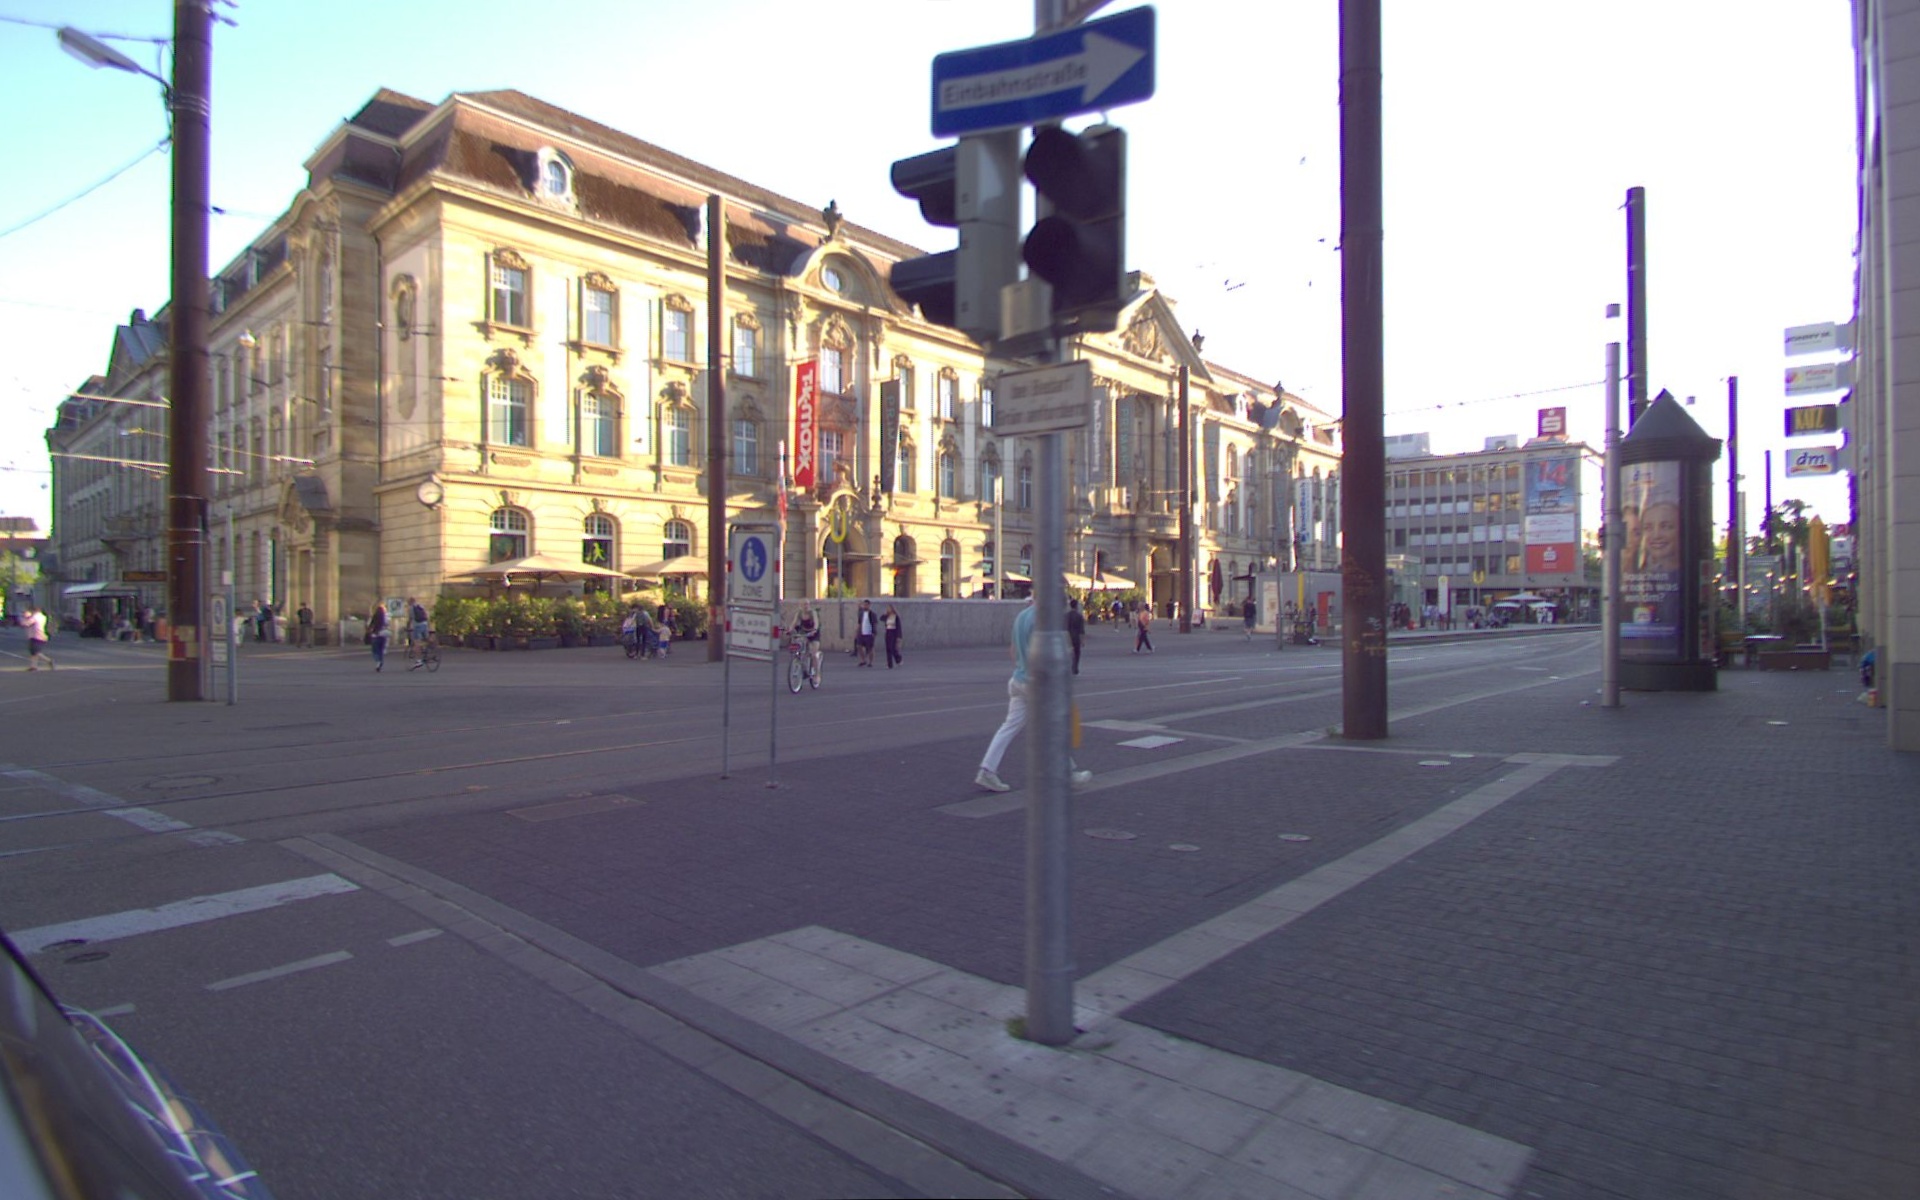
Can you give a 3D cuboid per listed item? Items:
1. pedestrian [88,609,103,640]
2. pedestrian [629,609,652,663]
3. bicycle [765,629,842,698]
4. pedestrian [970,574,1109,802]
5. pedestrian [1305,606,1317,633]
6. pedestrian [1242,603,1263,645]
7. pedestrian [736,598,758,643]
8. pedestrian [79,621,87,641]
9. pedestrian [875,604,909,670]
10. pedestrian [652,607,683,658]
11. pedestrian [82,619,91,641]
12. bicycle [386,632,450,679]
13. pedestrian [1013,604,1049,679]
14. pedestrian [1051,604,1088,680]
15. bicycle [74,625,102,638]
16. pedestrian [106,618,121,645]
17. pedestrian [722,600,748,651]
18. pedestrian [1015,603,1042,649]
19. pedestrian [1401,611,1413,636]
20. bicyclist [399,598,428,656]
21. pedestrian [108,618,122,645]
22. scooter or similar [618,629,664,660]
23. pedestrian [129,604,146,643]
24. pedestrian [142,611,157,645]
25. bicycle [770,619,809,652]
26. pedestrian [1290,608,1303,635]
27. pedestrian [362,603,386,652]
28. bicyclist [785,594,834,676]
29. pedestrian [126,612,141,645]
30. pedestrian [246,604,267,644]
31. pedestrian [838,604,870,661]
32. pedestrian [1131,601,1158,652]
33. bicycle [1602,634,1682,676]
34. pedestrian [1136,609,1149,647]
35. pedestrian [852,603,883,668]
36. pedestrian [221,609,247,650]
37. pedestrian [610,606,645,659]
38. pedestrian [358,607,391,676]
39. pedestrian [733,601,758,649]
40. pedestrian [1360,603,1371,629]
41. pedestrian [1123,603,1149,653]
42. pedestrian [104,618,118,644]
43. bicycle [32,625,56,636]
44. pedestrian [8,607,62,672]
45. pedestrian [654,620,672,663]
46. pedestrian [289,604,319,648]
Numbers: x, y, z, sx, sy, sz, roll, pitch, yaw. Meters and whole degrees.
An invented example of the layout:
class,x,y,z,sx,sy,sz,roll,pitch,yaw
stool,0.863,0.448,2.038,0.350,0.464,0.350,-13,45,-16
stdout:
class,x,y,z,sx,sy,sz,roll,pitch,yaw
pedestrian,-46.924,1.322,54.932,0.510,1.663,0.640,0,0,-26
pedestrian,-9.479,1.066,30.005,0.639,1.585,0.482,0,-1,-20
bicycle,-2.830,1.123,18.474,0.694,1.124,1.910,-1,0,14
pedestrian,0.667,0.680,8.437,0.867,1.774,0.758,-1,0,37
pedestrian,17.223,0.932,49.685,0.451,1.309,0.424,-1,1,36
pedestrian,11.843,0.983,41.004,0.650,1.687,0.523,-1,-1,42
pedestrian,-8.225,0.784,39.080,0.719,1.718,0.493,0,1,36
pedestrian,-50.045,1.778,57.750,0.360,1.111,0.430,-1,0,-42
pedestrian,-1.770,0.954,26.188,0.522,1.687,0.755,1,-1,-42
pedestrian,-9.447,1.032,32.736,0.661,1.626,0.768,-1,-1,16
pedestrian,-49.390,1.702,57.216,0.360,1.209,0.430,-1,0,-42
bicycle,-13.705,1.381,25.559,2.017,1.106,0.568,-1,0,35
pedestrian,1.624,0.941,23.183,0.650,1.687,0.523,-1,-1,42
pedestrian,2.471,0.936,22.846,0.650,1.687,0.523,-1,-1,42
bicycle,-66.192,2.388,76.822,1.557,0.880,0.451,-1,0,-44
pedestrian,-42.859,1.570,51.241,0.512,1.337,0.638,0,0,-45
pedestrian,-7.729,0.862,34.763,0.716,1.718,0.495,0,1,24
pedestrian,2.499,0.941,36.910,0.650,1.687,0.706,-1,-1,42
pedestrian,23.583,1.238,53.404,0.451,1.330,0.424,-1,1,36
bicyclist,-13.881,0.678,25.707,0.562,1.438,0.417,-1,0,35
pedestrian,-42.261,1.564,50.603,0.512,1.337,0.638,0,0,-45
scooter or similar,-9.692,1.353,30.797,0.883,0.911,1.090,-1,-1,19
pedestrian,-37.678,1.073,46.376,0.460,1.789,0.563,-1,-1,-24
pedestrian,-39.695,1.368,49.540,0.512,1.658,0.638,0,0,-45
bicycle,-5.837,1.199,34.656,1.581,1.094,0.444,-1,0,44
pedestrian,16.505,1.043,49.621,0.451,1.309,0.424,-1,1,36
pedestrian,-18.663,0.858,32.230,0.494,1.537,0.528,-1,-1,-11
bicyclist,-2.773,0.631,18.721,0.594,1.476,0.870,-1,0,14
pedestrian,-40.410,1.398,49.503,0.512,1.581,0.638,0,0,-45
pedestrian,-31.536,1.071,45.356,0.705,1.789,0.614,-1,-1,38
pedestrian,-3.208,0.966,30.618,0.650,1.687,0.706,-1,-1,42
pedestrian,6.026,0.857,33.121,0.673,1.649,0.587,0,-1,-14
bicycle,17.930,1.420,26.649,0.443,0.994,1.932,-1,0,-13
pedestrian,7.951,1.203,44.115,0.503,1.649,0.347,0,-1,4
pedestrian,-2.434,0.928,26.627,0.522,1.687,0.651,1,-1,-42
pedestrian,-29.399,1.178,40.975,0.630,1.626,0.692,-1,0,40
pedestrian,-10.303,1.004,31.375,0.687,1.626,0.819,-1,-1,16
pedestrian,-14.615,1.027,25.271,0.639,1.687,0.532,0,-1,-24
pedestrian,-7.851,0.913,36.982,0.716,1.718,0.495,0,1,24
pedestrian,20.719,0.794,51.694,0.451,1.309,0.424,-1,1,36
pedestrian,5.864,0.934,33.726,0.673,1.649,0.587,0,-1,-14
pedestrian,-43.430,1.576,51.754,0.512,1.337,0.638,0,0,-45
bicycle,-83.201,2.777,91.909,1.557,0.880,0.451,-1,0,-44
pedestrian,-23.928,1.011,26.187,0.831,1.641,0.796,-1,-1,28
pedestrian,-8.866,1.235,30.238,0.476,1.252,0.413,0,-1,-21
pedestrian,-24.942,0.967,38.478,0.971,1.641,0.681,-1,-1,41
